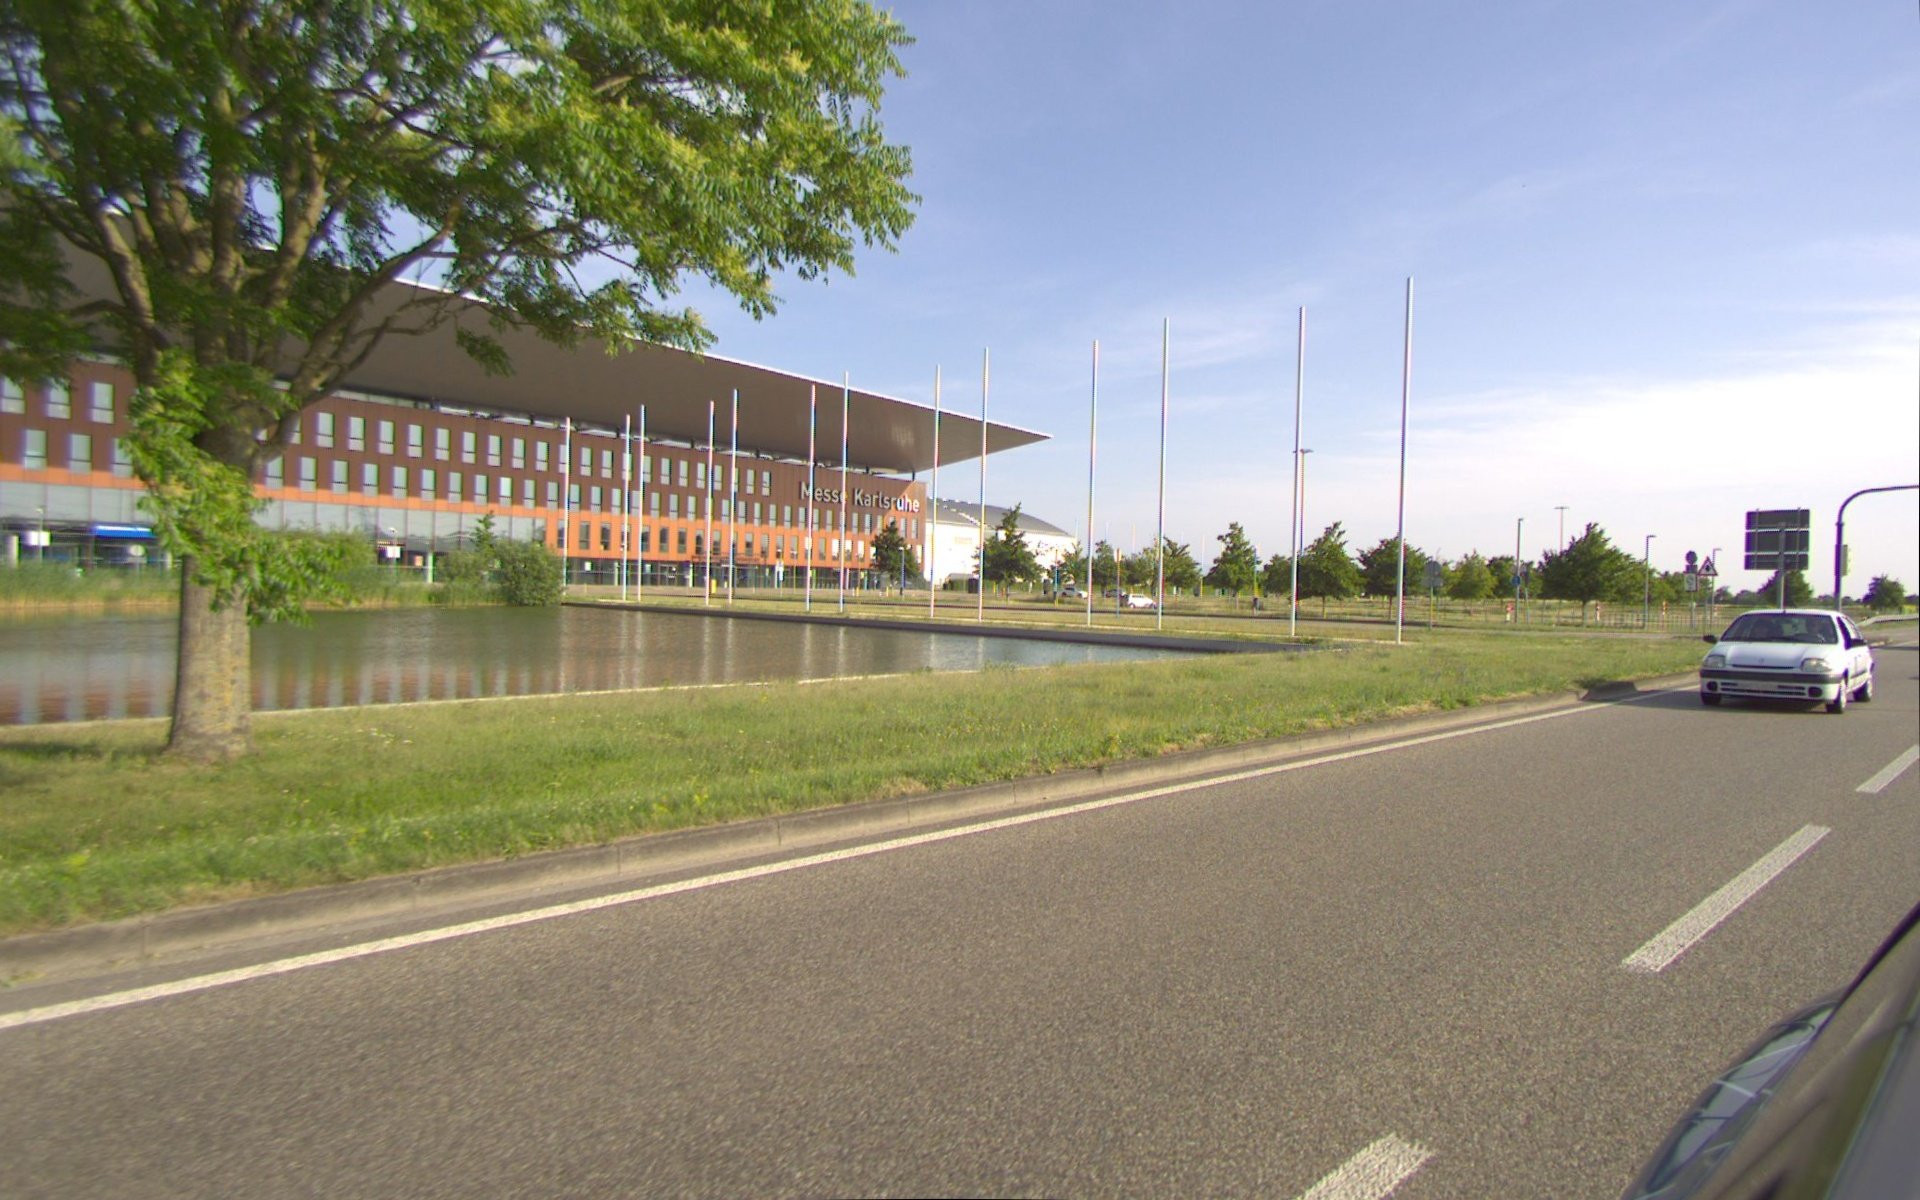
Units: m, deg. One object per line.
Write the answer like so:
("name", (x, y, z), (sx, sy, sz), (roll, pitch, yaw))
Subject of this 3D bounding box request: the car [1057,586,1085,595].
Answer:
("car", (16.645, -1.418, 152.274), (1.461, 1.295, 4.202), (1, 0, -43))

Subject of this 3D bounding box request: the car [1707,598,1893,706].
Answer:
("car", (12.421, 0.684, 14.915), (3.391, 1.396, 1.577), (0, 0, -41))

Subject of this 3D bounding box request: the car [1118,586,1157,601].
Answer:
("car", (17.321, -0.625, 98.756), (3.493, 1.473, 1.714), (1, 0, -29))
